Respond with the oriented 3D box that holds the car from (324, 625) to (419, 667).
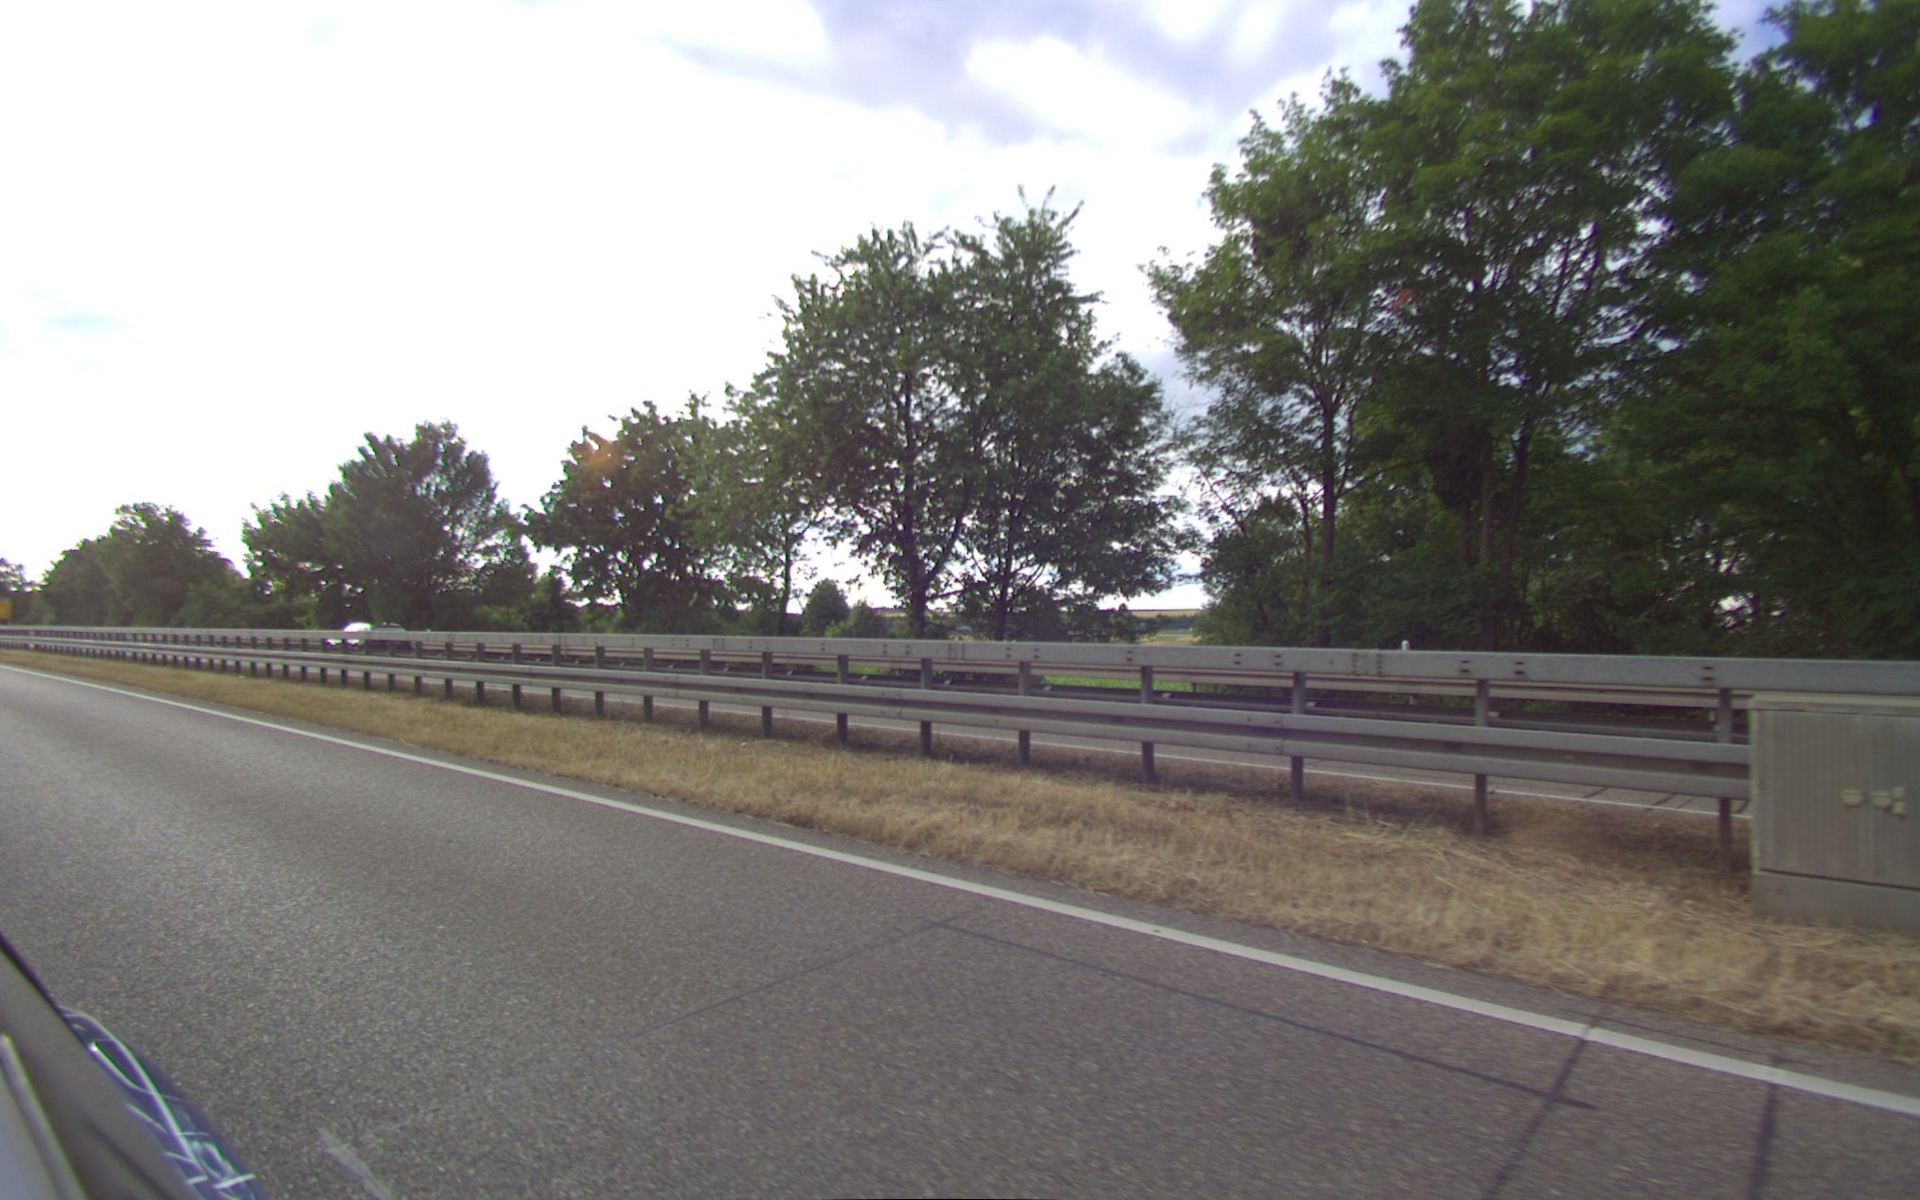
[{"bbox_3d":[-22.791,1.747,39.136,4.585,1.556,1.805,-1,-3,41],"label":"car"}]
